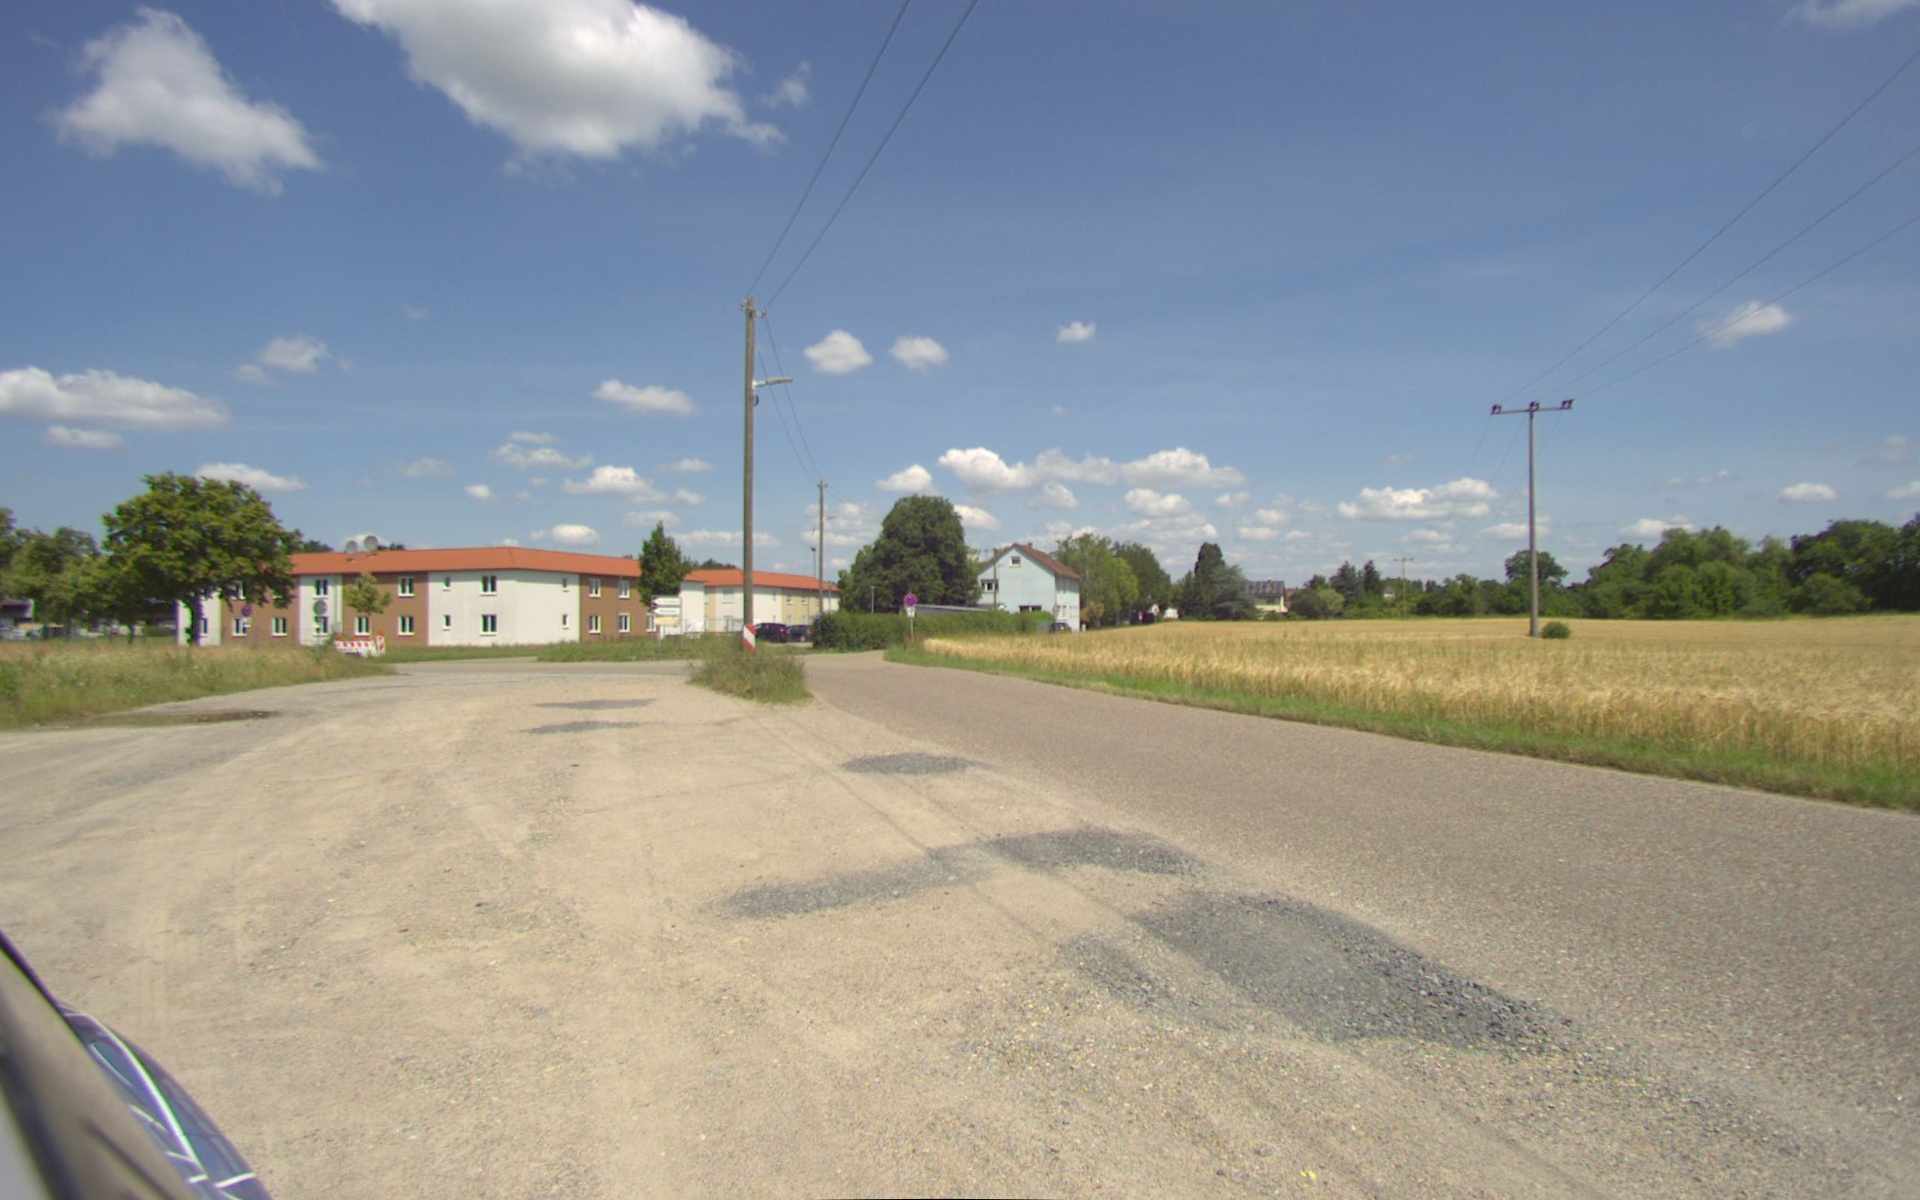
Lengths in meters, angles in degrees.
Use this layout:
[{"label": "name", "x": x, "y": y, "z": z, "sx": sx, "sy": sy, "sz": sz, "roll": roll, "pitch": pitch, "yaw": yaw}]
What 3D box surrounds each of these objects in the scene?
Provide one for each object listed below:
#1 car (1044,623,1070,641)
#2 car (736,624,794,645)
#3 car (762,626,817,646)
[{"label": "car", "x": 9.501, "y": 3.106, "z": 98.991, "sx": 1.734, "sy": 1.692, "sz": 4.233, "roll": -2, "pitch": -1, "yaw": 16}, {"label": "car", "x": -15.388, "y": 2.747, "z": 80.012, "sx": 4.110, "sy": 1.627, "sz": 1.990, "roll": -1, "pitch": -2, "yaw": 15}, {"label": "car", "x": -14.091, "y": 2.962, "z": 83.707, "sx": 4.110, "sy": 1.627, "sz": 1.990, "roll": -1, "pitch": -2, "yaw": 15}]
